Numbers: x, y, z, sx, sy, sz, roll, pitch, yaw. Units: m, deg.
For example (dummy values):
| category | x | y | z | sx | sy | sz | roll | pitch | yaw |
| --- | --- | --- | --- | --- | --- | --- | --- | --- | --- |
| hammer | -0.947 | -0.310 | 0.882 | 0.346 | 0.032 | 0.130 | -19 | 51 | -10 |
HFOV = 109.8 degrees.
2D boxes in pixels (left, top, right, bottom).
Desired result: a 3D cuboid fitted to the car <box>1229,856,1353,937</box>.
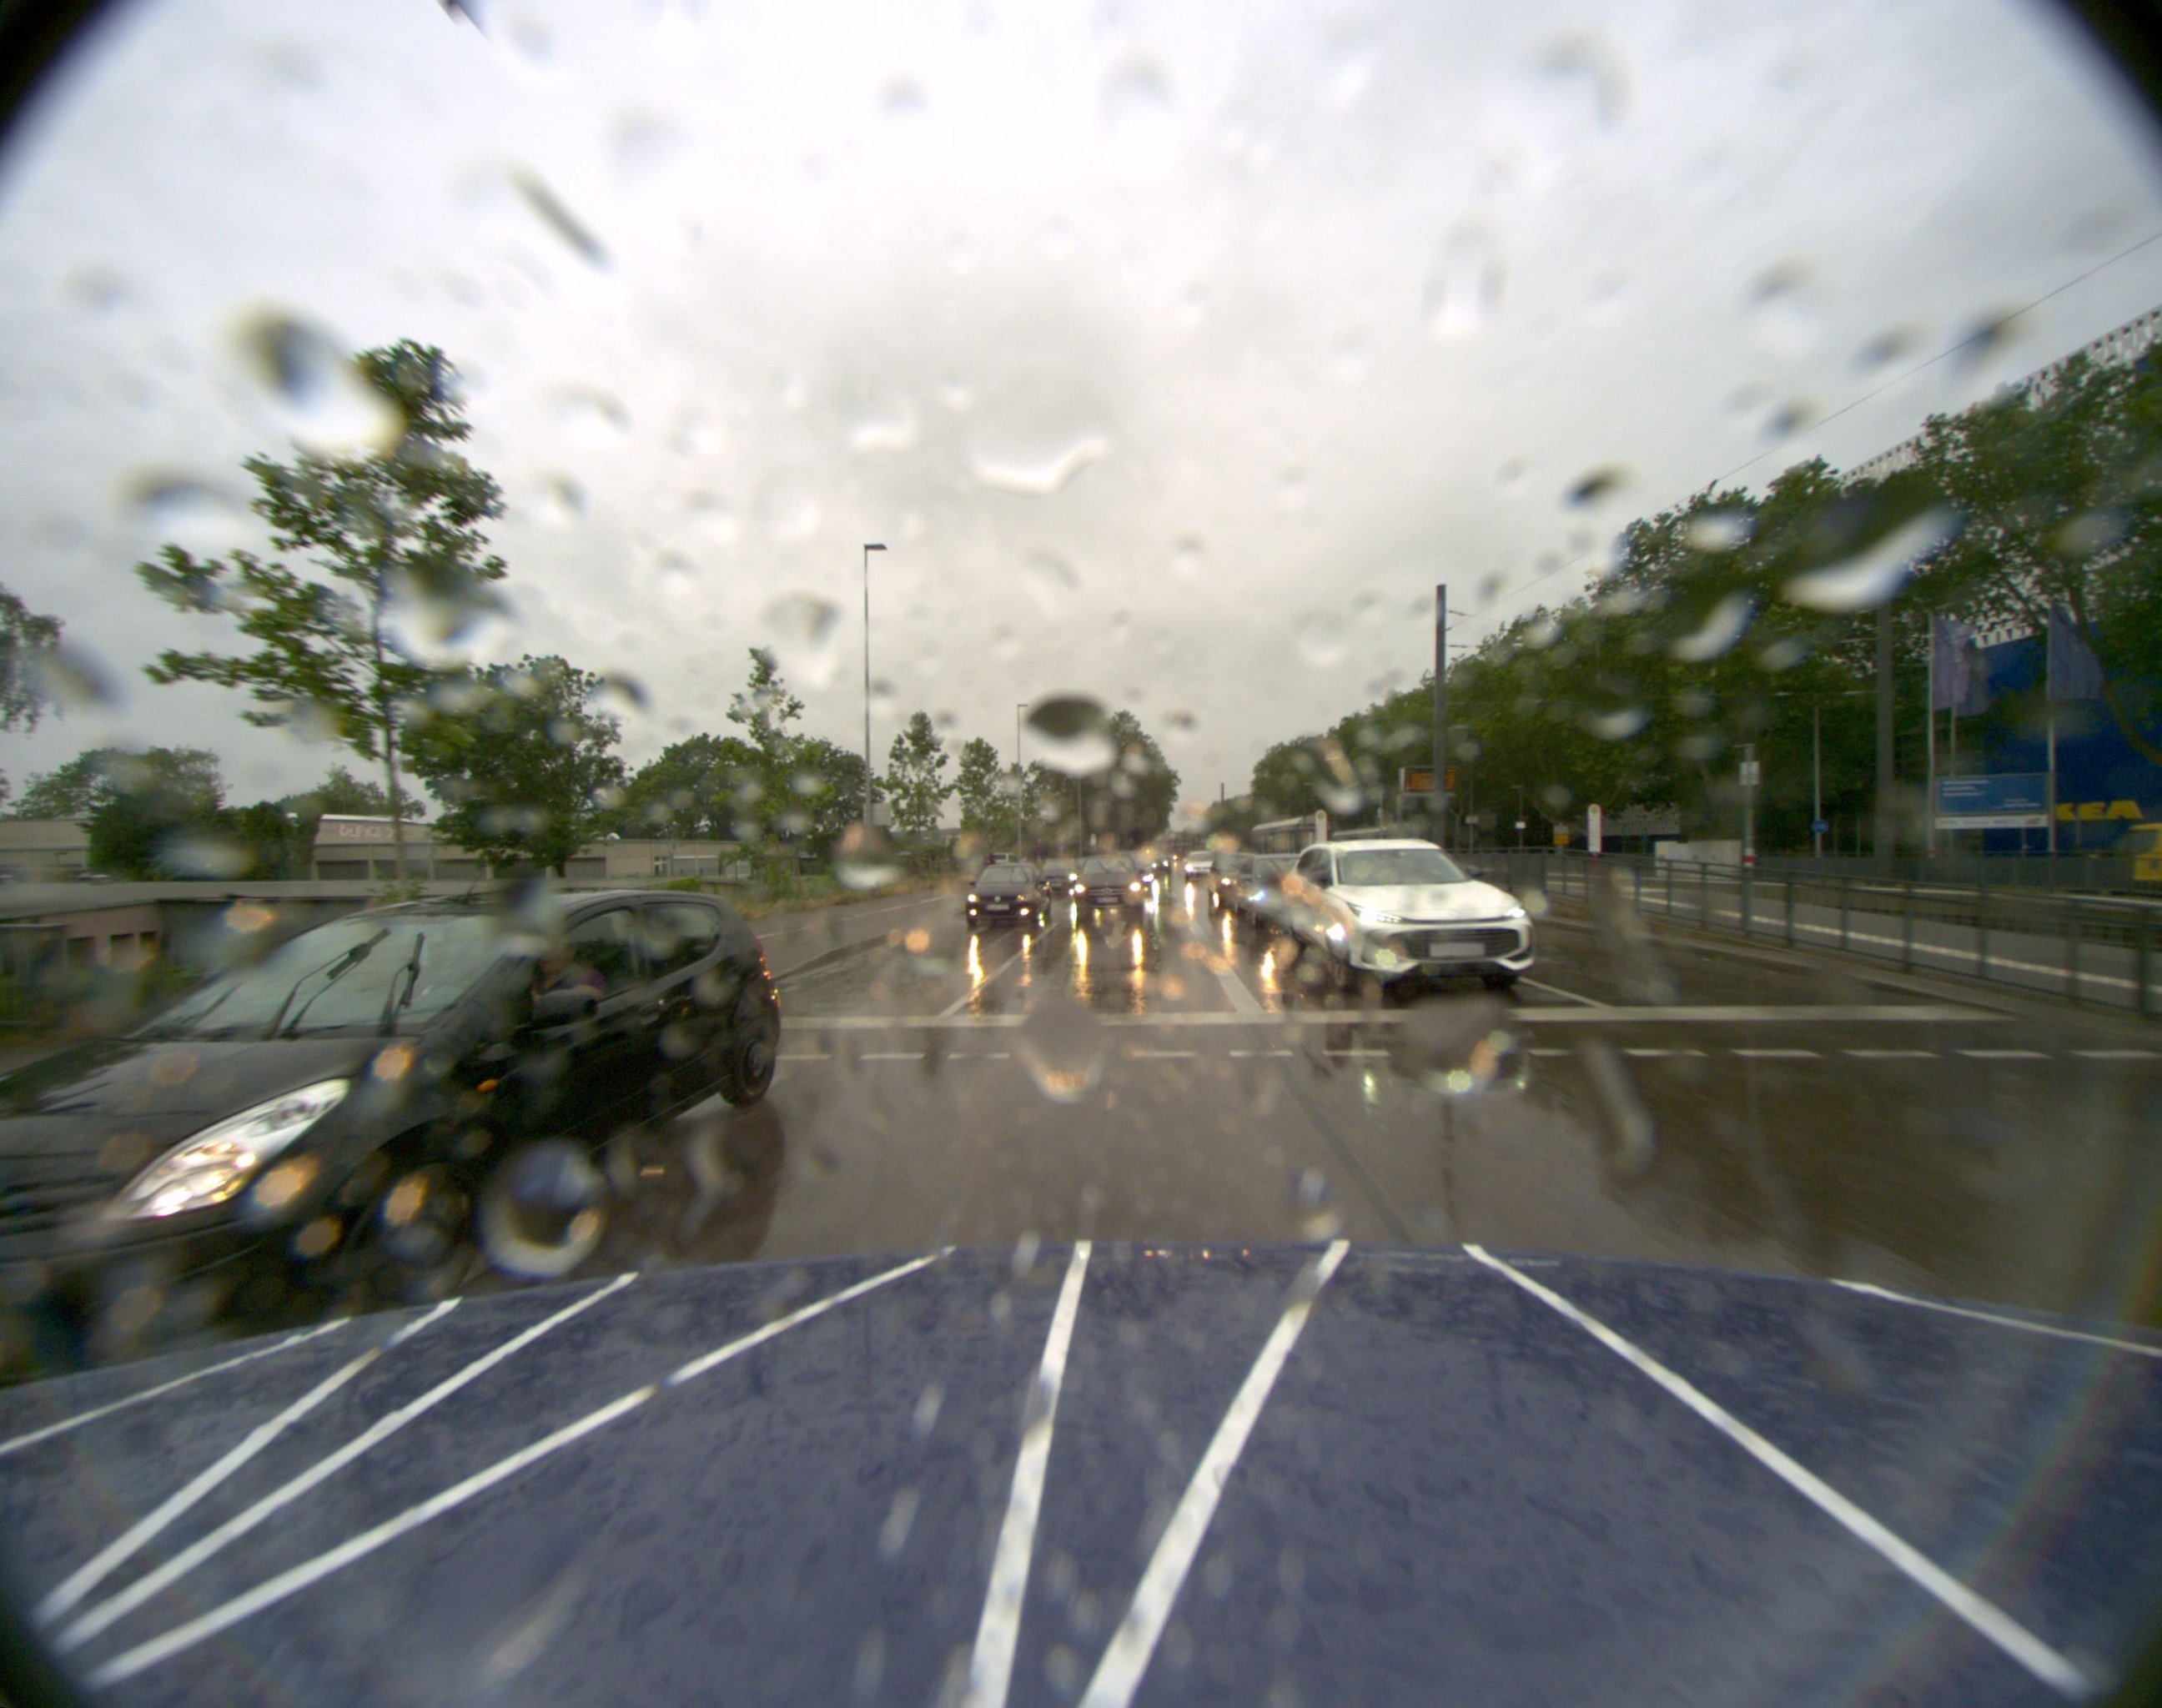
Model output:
| category | x | y | z | sx | sy | sz | roll | pitch | yaw |
| --- | --- | --- | --- | --- | --- | --- | --- | --- | --- |
| car | 4.344 | 0.801 | 16.442 | 1.715 | 1.405 | 4.699 | -2 | 0 | 5 |

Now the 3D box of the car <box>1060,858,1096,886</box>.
| category | x | y | z | sx | sy | sz | roll | pitch | yaw |
| --- | --- | --- | --- | --- | --- | --- | --- | --- | --- |
| car | -0.148 | 1.049 | 44.855 | 1.715 | 1.515 | 4.179 | -2 | -1 | 4 |

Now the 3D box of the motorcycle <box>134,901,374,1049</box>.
| category | x | y | z | sx | sy | sz | roll | pitch | yaw |
| --- | --- | --- | --- | --- | --- | --- | --- | --- | --- |
| motorcycle | -7.997 | 1.107 | 7.435 | 0.632 | 1.211 | 1.450 | 0 | 0 | 16 |

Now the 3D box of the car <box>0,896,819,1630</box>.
| category | x | y | z | sx | sy | sz | roll | pitch | yaw |
| --- | --- | --- | --- | --- | --- | --- | --- | --- | --- |
| car | -3.082 | 1.052 | 3.795 | 1.775 | 1.453 | 4.094 | -2 | -1 | 5 |

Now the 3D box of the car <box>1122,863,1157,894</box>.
| category | x | y | z | sx | sy | sz | roll | pitch | yaw |
| --- | --- | --- | --- | --- | --- | --- | --- | --- | --- |
| car | 3.099 | 1.253 | 40.246 | 1.715 | 1.515 | 4.045 | -2 | -1 | 4 |

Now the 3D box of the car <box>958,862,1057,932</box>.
| category | x | y | z | sx | sy | sz | roll | pitch | yaw |
| --- | --- | --- | --- | --- | --- | --- | --- | --- | --- |
| car | -1.679 | 0.976 | 18.730 | 1.715 | 1.475 | 4.045 | -2 | -1 | 4 |

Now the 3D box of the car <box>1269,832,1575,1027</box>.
| category | x | y | z | sx | sy | sz | roll | pitch | yaw |
| --- | --- | --- | --- | --- | --- | --- | --- | --- | --- |
| car | 3.786 | 0.721 | 9.474 | 1.993 | 1.778 | 4.554 | -2 | 0 | 4 |

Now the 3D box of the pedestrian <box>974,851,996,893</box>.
| category | x | y | z | sx | sy | sz | roll | pitch | yaw |
| --- | --- | --- | --- | --- | --- | --- | --- | --- | --- |
| pedestrian | -3.688 | 0.686 | 29.305 | 0.733 | 1.602 | 0.618 | 0 | 1 | 4 |

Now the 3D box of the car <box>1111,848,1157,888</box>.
| category | x | y | z | sx | sy | sz | roll | pitch | yaw |
| --- | --- | --- | --- | --- | --- | --- | --- | --- | --- |
| car | 2.212 | 0.575 | 31.722 | 1.715 | 1.515 | 4.045 | -2 | -1 | 4 |

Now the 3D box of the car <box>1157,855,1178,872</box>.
| category | x | y | z | sx | sy | sz | roll | pitch | yaw |
| --- | --- | --- | --- | --- | --- | --- | --- | --- | --- |
| car | 8.035 | 0.884 | 70.497 | 1.715 | 1.515 | 4.045 | -2 | -1 | 4 |

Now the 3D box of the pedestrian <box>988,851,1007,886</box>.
| category | x | y | z | sx | sy | sz | roll | pitch | yaw |
| --- | --- | --- | --- | --- | --- | --- | --- | --- | --- |
| pedestrian | -3.865 | 0.657 | 35.129 | 0.733 | 1.602 | 0.650 | 0 | 1 | 4 |

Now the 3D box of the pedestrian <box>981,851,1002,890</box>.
| category | x | y | z | sx | sy | sz | roll | pitch | yaw |
| --- | --- | --- | --- | --- | --- | --- | --- | --- | --- |
| pedestrian | -3.684 | 0.660 | 31.387 | 0.733 | 1.602 | 0.576 | 0 | 1 | 4 |

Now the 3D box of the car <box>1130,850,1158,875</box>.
| category | x | y | z | sx | sy | sz | roll | pitch | yaw |
| --- | --- | --- | --- | --- | --- | --- | --- | --- | --- |
| car | 4.130 | 0.551 | 49.990 | 1.715 | 1.515 | 4.045 | -2 | -1 | 4 |

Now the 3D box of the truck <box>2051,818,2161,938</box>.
| category | x | y | z | sx | sy | sz | roll | pitch | yaw |
| --- | --- | --- | --- | --- | --- | --- | --- | --- | --- |
| truck | 27.708 | 0.690 | 16.415 | 2.746 | 2.833 | 9.095 | -3 | 2 | 7 |

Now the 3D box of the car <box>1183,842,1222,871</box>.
| category | x | y | z | sx | sy | sz | roll | pitch | yaw |
| --- | --- | --- | --- | --- | --- | --- | --- | --- | --- |
| car | 6.722 | 0.160 | 42.313 | 1.715 | 1.515 | 4.045 | -2 | -1 | 4 |

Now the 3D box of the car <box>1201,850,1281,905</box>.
| category | x | y | z | sx | sy | sz | roll | pitch | yaw |
| --- | --- | --- | --- | --- | --- | --- | --- | --- | --- |
| car | 4.895 | 0.667 | 23.821 | 1.752 | 1.466 | 4.698 | -2 | 0 | 4 |

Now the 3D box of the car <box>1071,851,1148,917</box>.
| category | x | y | z | sx | sy | sz | roll | pitch | yaw |
| --- | --- | --- | --- | --- | --- | --- | --- | --- | --- |
| car | 0.826 | 0.790 | 20.985 | 1.876 | 1.573 | 4.044 | -2 | -1 | 3 |

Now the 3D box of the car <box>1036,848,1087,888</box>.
| category | x | y | z | sx | sy | sz | roll | pitch | yaw |
| --- | --- | --- | --- | --- | --- | --- | --- | --- | --- |
| car | -0.749 | 0.595 | 32.067 | 1.715 | 1.515 | 4.045 | -2 | -1 | 4 |

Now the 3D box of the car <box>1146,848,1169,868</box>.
| category | x | y | z | sx | sy | sz | roll | pitch | yaw |
| --- | --- | --- | --- | --- | --- | --- | --- | --- | --- |
| car | 6.119 | 0.332 | 61.037 | 1.715 | 1.515 | 4.045 | -2 | -1 | 4 |
